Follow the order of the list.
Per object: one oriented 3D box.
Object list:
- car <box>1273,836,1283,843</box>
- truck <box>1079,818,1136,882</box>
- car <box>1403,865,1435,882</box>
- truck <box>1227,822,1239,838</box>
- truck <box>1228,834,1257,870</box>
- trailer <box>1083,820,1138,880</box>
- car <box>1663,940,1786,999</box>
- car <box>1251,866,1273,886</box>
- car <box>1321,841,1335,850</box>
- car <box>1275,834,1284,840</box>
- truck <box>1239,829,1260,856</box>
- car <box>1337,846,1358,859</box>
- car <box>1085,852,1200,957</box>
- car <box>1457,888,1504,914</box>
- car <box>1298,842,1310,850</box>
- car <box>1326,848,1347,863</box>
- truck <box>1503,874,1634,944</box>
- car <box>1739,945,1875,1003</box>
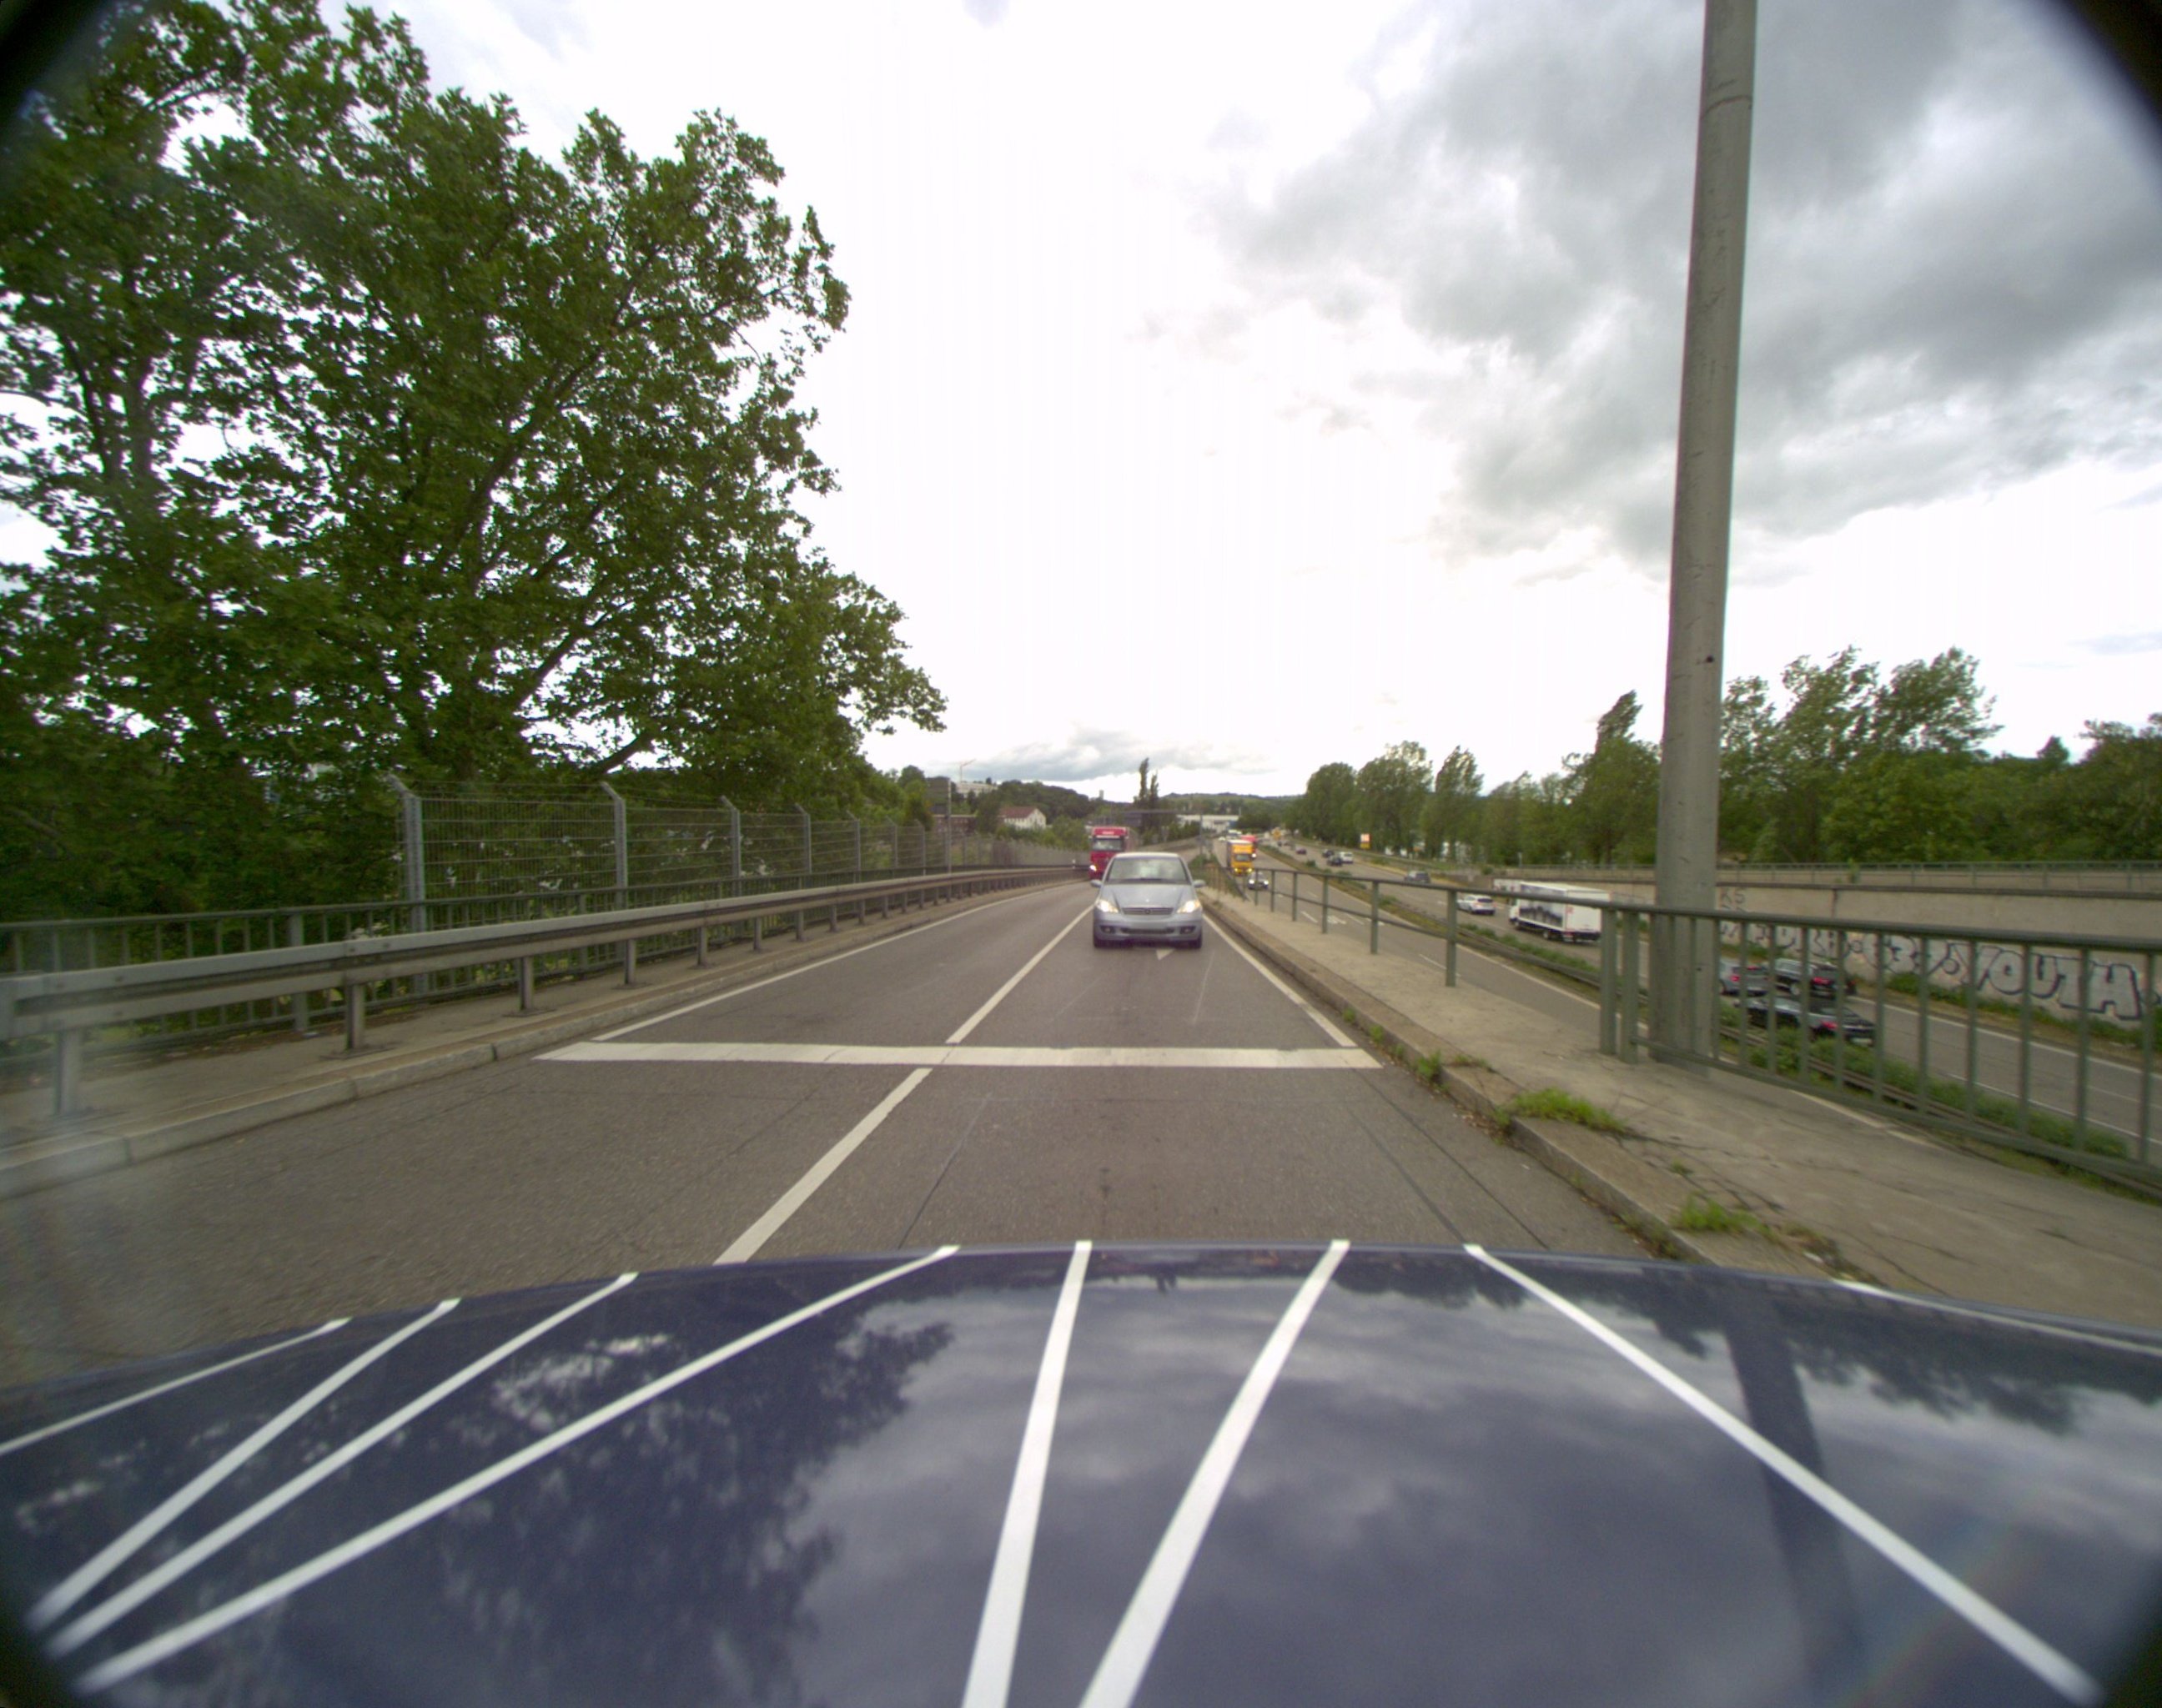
[{"bbox_3d":[50.528,-3.712,194.712,1.997,1.707,3.642,2,2,10],"label":"car"},{"bbox_3d":[2.032,-0.274,55.382,3.667,4.296,7.238,-1,0,5],"label":"truck"},{"bbox_3d":[38.980,2.215,87.771,1.998,1.609,4.329,1,2,5],"label":"car"},{"bbox_3d":[49.940,-7.942,249.855,3.374,4.928,13.941,0,3,10],"label":"truck"},{"bbox_3d":[21.089,-0.352,99.862,2.898,4.161,10.026,2,3,8],"label":"truck"},{"bbox_3d":[2.685,-0.338,61.952,3.667,4.296,13.787,-1,0,5],"label":"trailer"},{"bbox_3d":[29.152,5.165,34.635,2.136,1.708,4.425,2,4,7],"label":"car"},{"bbox_3d":[18.726,2.245,78.615,1.877,1.688,3.842,1,2,9],"label":"car"},{"bbox_3d":[47.822,-1.665,147.198,1.997,1.758,3.485,2,2,10],"label":"car"},{"bbox_3d":[56.099,-4.804,214.421,1.997,1.707,3.642,2,2,9],"label":"car"},{"bbox_3d":[29.883,-2.243,135.110,2.886,4.333,13.261,1,3,10],"label":"truck"},{"bbox_3d":[45.070,-0.312,128.669,2.595,2.003,4.643,2,3,9],"label":"car"},{"bbox_3d":[1.126,0.780,13.578,1.746,1.594,3.683,-1,1,6],"label":"car"},{"bbox_3d":[32.393,3.767,61.757,1.997,1.609,4.330,2,2,8],"label":"car"},{"bbox_3d":[47.231,-1.743,160.715,1.997,1.707,3.642,2,2,10],"label":"car"},{"bbox_3d":[40.443,0.189,120.395,2.222,2.003,4.641,2,5,9],"label":"car"},{"bbox_3d":[31.330,3.360,49.450,3.591,3.438,8.239,2,3,5],"label":"truck"},{"bbox_3d":[32.482,5.327,34.206,2.136,1.557,4.425,2,4,7],"label":"car"}]
